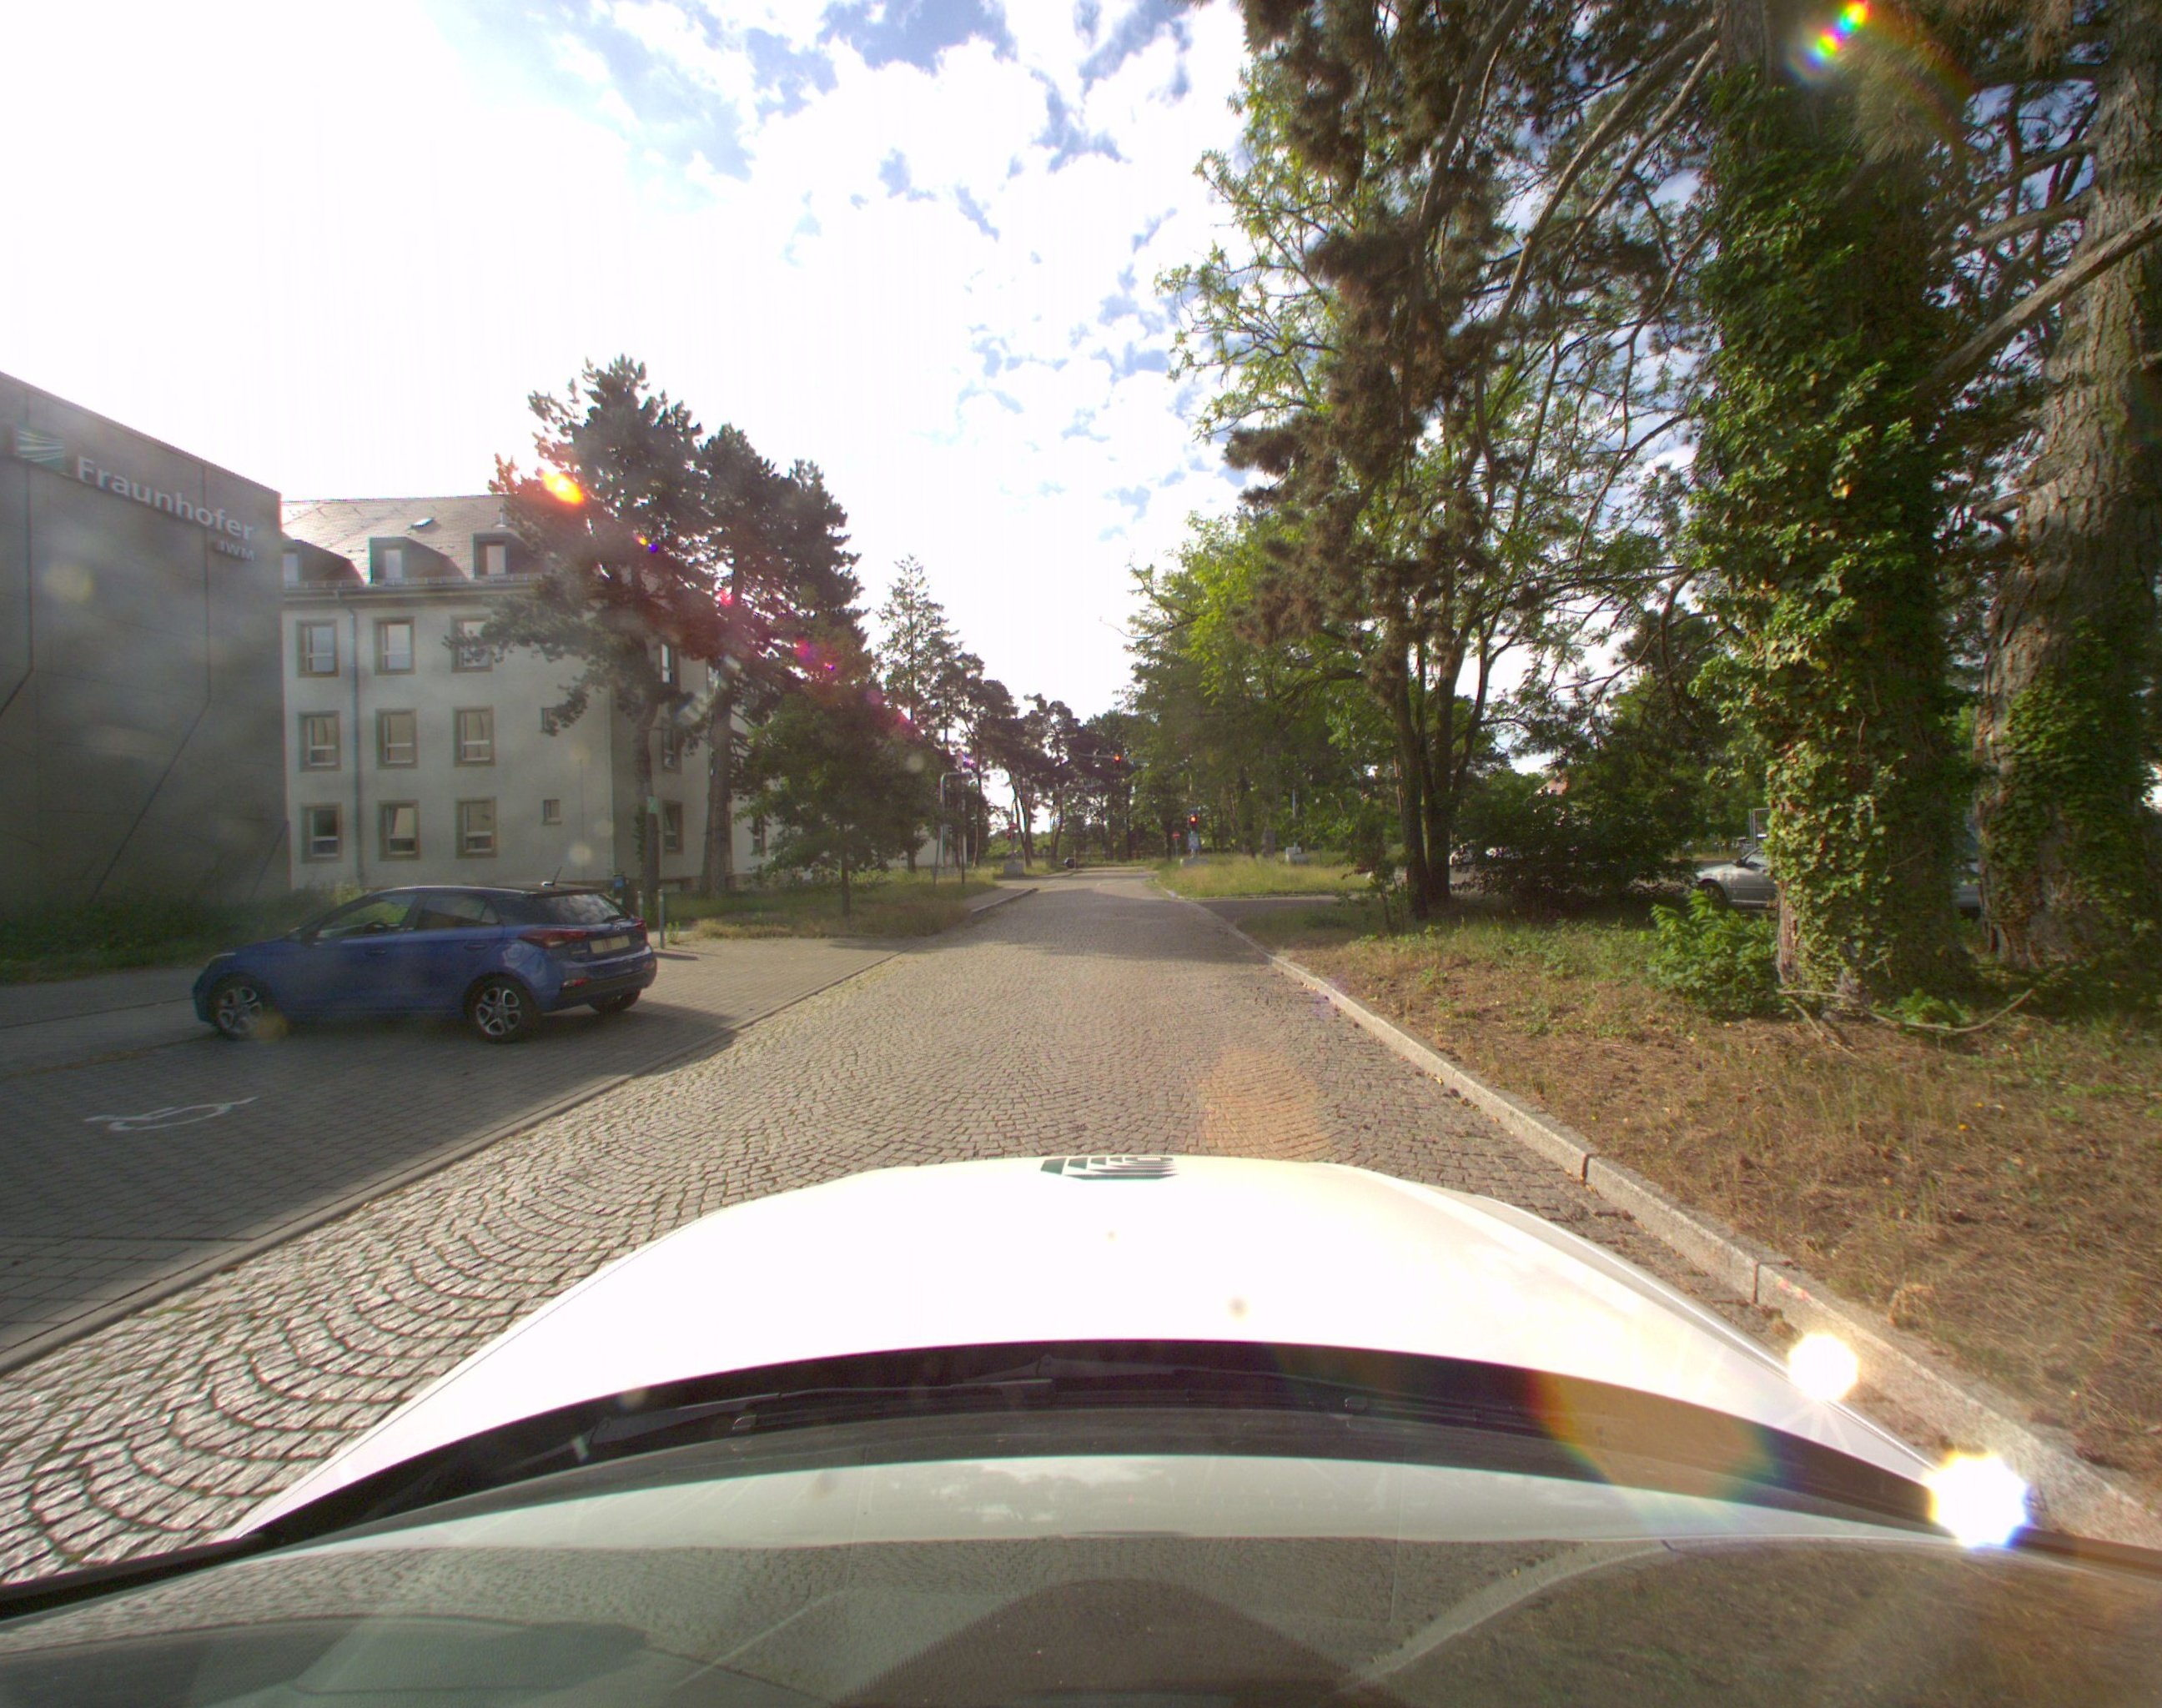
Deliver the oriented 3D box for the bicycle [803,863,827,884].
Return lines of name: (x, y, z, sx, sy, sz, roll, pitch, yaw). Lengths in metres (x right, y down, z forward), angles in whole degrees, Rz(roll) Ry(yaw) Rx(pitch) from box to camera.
bicycle: (-19.263, 1.422, 59.031, 0.823, 1.437, 2.555, -2, 0, 2)

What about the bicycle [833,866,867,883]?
bicycle: (-16.303, 1.464, 57.399, 2.111, 1.108, 0.828, -2, 0, -2)

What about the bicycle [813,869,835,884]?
bicycle: (-18.481, 1.621, 58.667, 0.823, 1.047, 2.125, -2, 0, 2)

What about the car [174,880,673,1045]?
car: (-6.570, 1.030, 8.435, 3.819, 1.464, 1.721, 0, 0, 3)

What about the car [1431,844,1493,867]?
car: (23.352, 0.073, 50.093, 1.726, 1.312, 4.330, -2, 0, -1)

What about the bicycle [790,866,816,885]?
bicycle: (-20.044, 1.521, 58.750, 0.823, 1.281, 2.555, -2, 0, 2)

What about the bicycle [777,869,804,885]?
bicycle: (-20.939, 1.647, 58.774, 0.897, 1.047, 2.555, -2, 0, 2)

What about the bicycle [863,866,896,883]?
bicycle: (-14.180, 1.440, 57.436, 2.111, 1.047, 0.828, -2, 0, -2)

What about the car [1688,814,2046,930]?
car: (11.871, 0.247, 12.748, 1.662, 1.467, 3.998, -2, 0, -1)

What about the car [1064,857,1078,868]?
car: (-1.344, 1.146, 114.512, 1.839, 1.486, 3.999, -2, 0, 0)

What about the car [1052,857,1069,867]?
car: (-3.033, 1.154, 119.394, 1.772, 1.490, 3.765, -2, 0, 9)

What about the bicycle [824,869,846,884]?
bicycle: (-17.699, 1.614, 58.689, 0.823, 1.047, 2.125, -2, 0, 2)
